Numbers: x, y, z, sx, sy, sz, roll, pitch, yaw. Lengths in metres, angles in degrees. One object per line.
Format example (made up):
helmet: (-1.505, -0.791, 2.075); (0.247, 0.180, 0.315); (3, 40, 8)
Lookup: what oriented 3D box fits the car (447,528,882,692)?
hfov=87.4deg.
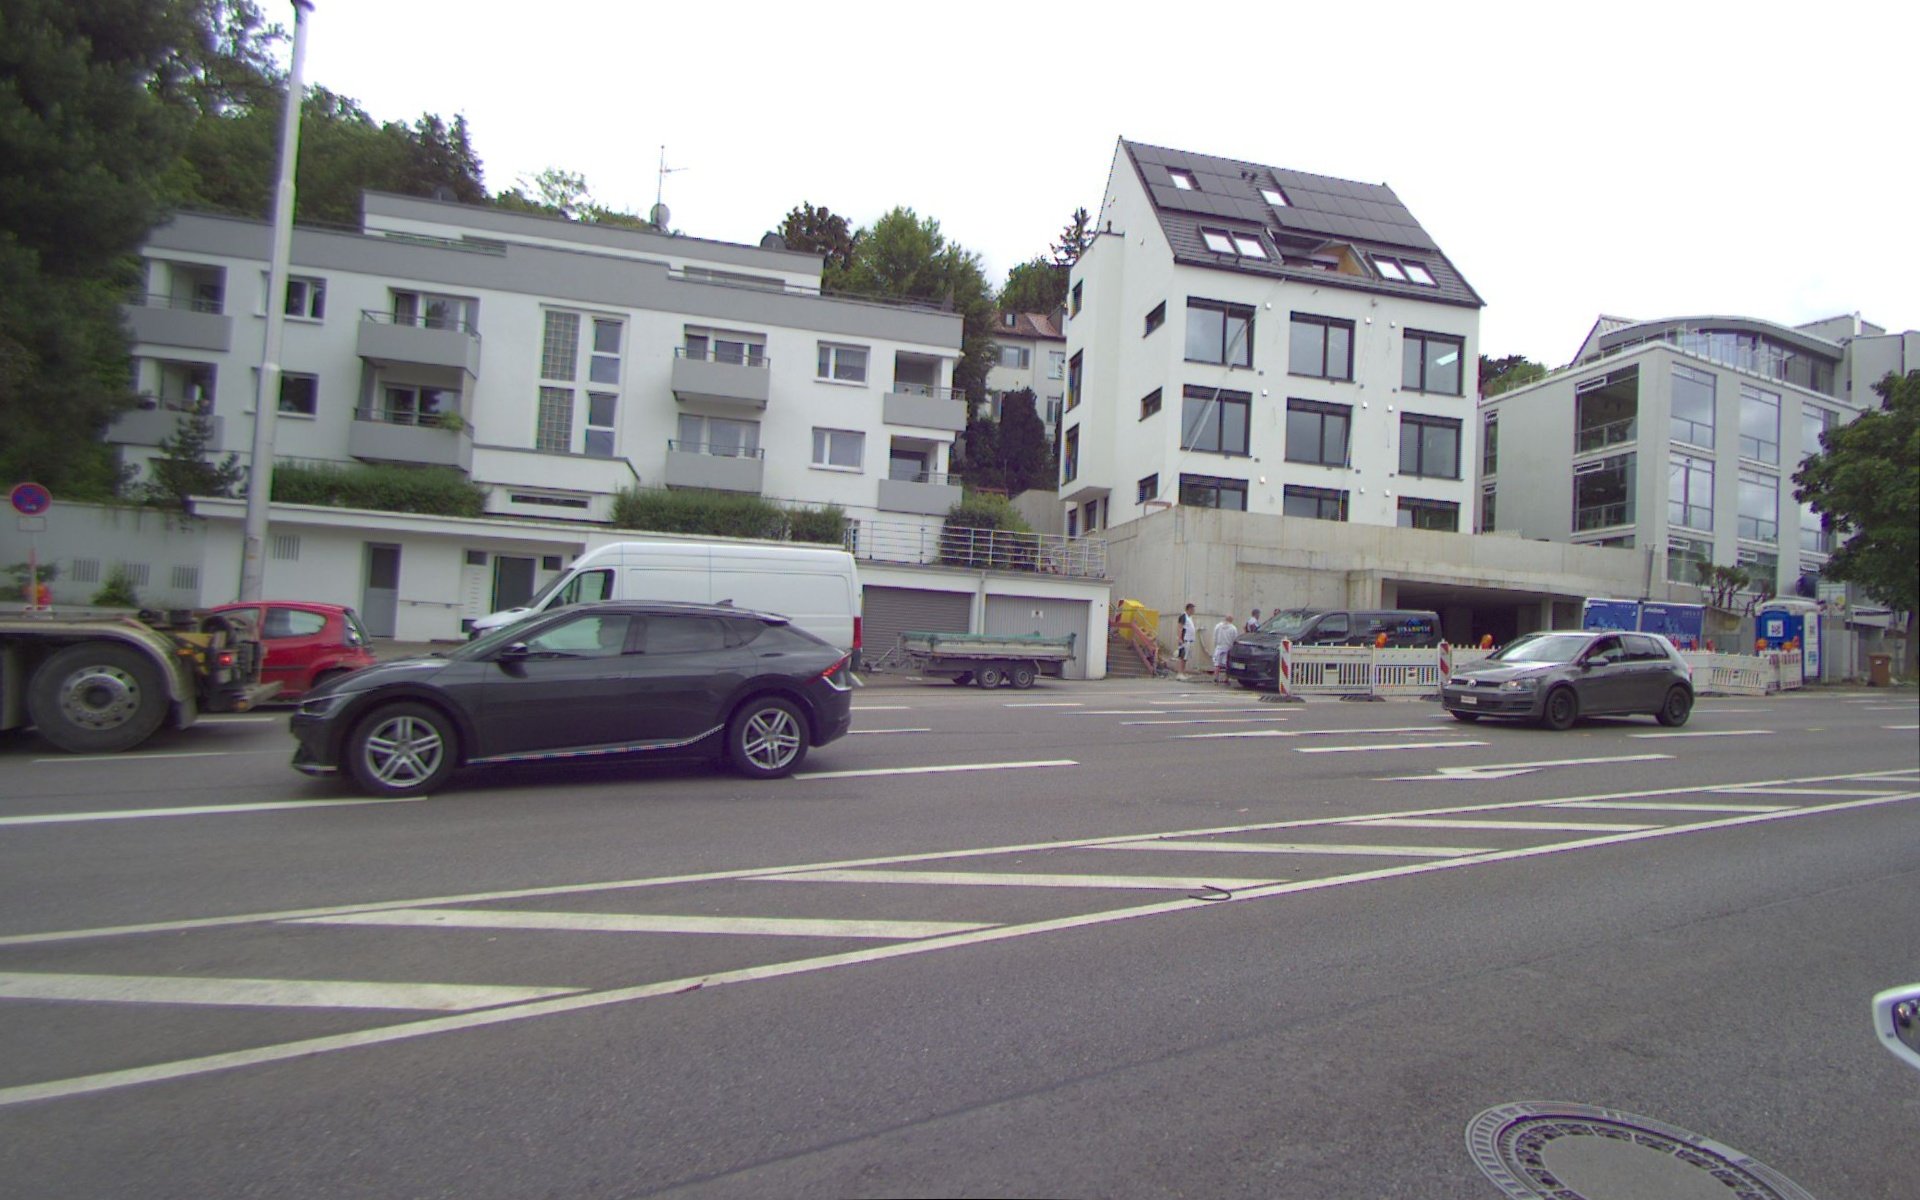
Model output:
car: (-5.255, 0.264, 18.517); (7.322, 2.602, 2.225); (2, -1, -25)

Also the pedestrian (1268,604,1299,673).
pedestrian: (8.010, 0.944, 24.868); (0.662, 1.662, 0.672); (2, 1, 17)

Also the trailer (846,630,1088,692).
trailer: (0.145, 1.236, 20.955); (4.560, 1.126, 2.240); (2, -1, -25)

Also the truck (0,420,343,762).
truck: (-11.005, -0.133, 9.173); (8.865, 3.010, 2.949); (2, -1, -28)

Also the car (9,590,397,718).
car: (-9.754, 0.690, 13.369); (3.879, 1.485, 1.614); (2, -1, -29)

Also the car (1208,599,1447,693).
car: (8.474, 1.055, 23.153); (5.139, 1.993, 1.980); (1, -1, -20)

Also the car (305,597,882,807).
car: (-3.072, 0.795, 8.989); (4.425, 1.516, 1.690); (2, -1, -25)

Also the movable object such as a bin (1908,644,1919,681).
movable object such as a bin: (26.960, 1.738, 27.919); (0.649, 1.029, 0.645); (1, -1, -15)

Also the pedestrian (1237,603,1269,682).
pedestrian: (7.140, 1.009, 24.457); (0.662, 1.865, 0.672); (2, 1, 17)

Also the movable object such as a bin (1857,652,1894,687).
movable object such as a bin: (24.790, 1.874, 27.203); (0.649, 0.891, 0.645); (1, -1, 35)

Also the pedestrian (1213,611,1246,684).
pedestrian: (6.393, 1.112, 23.808); (0.662, 1.662, 0.672); (2, 1, 17)

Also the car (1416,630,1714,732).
car: (9.436, 1.205, 15.678); (4.222, 1.412, 1.840); (1, -1, -22)

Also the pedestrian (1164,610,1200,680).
pedestrian: (5.428, 1.100, 24.587); (0.659, 1.662, 0.627); (2, 1, -4)
